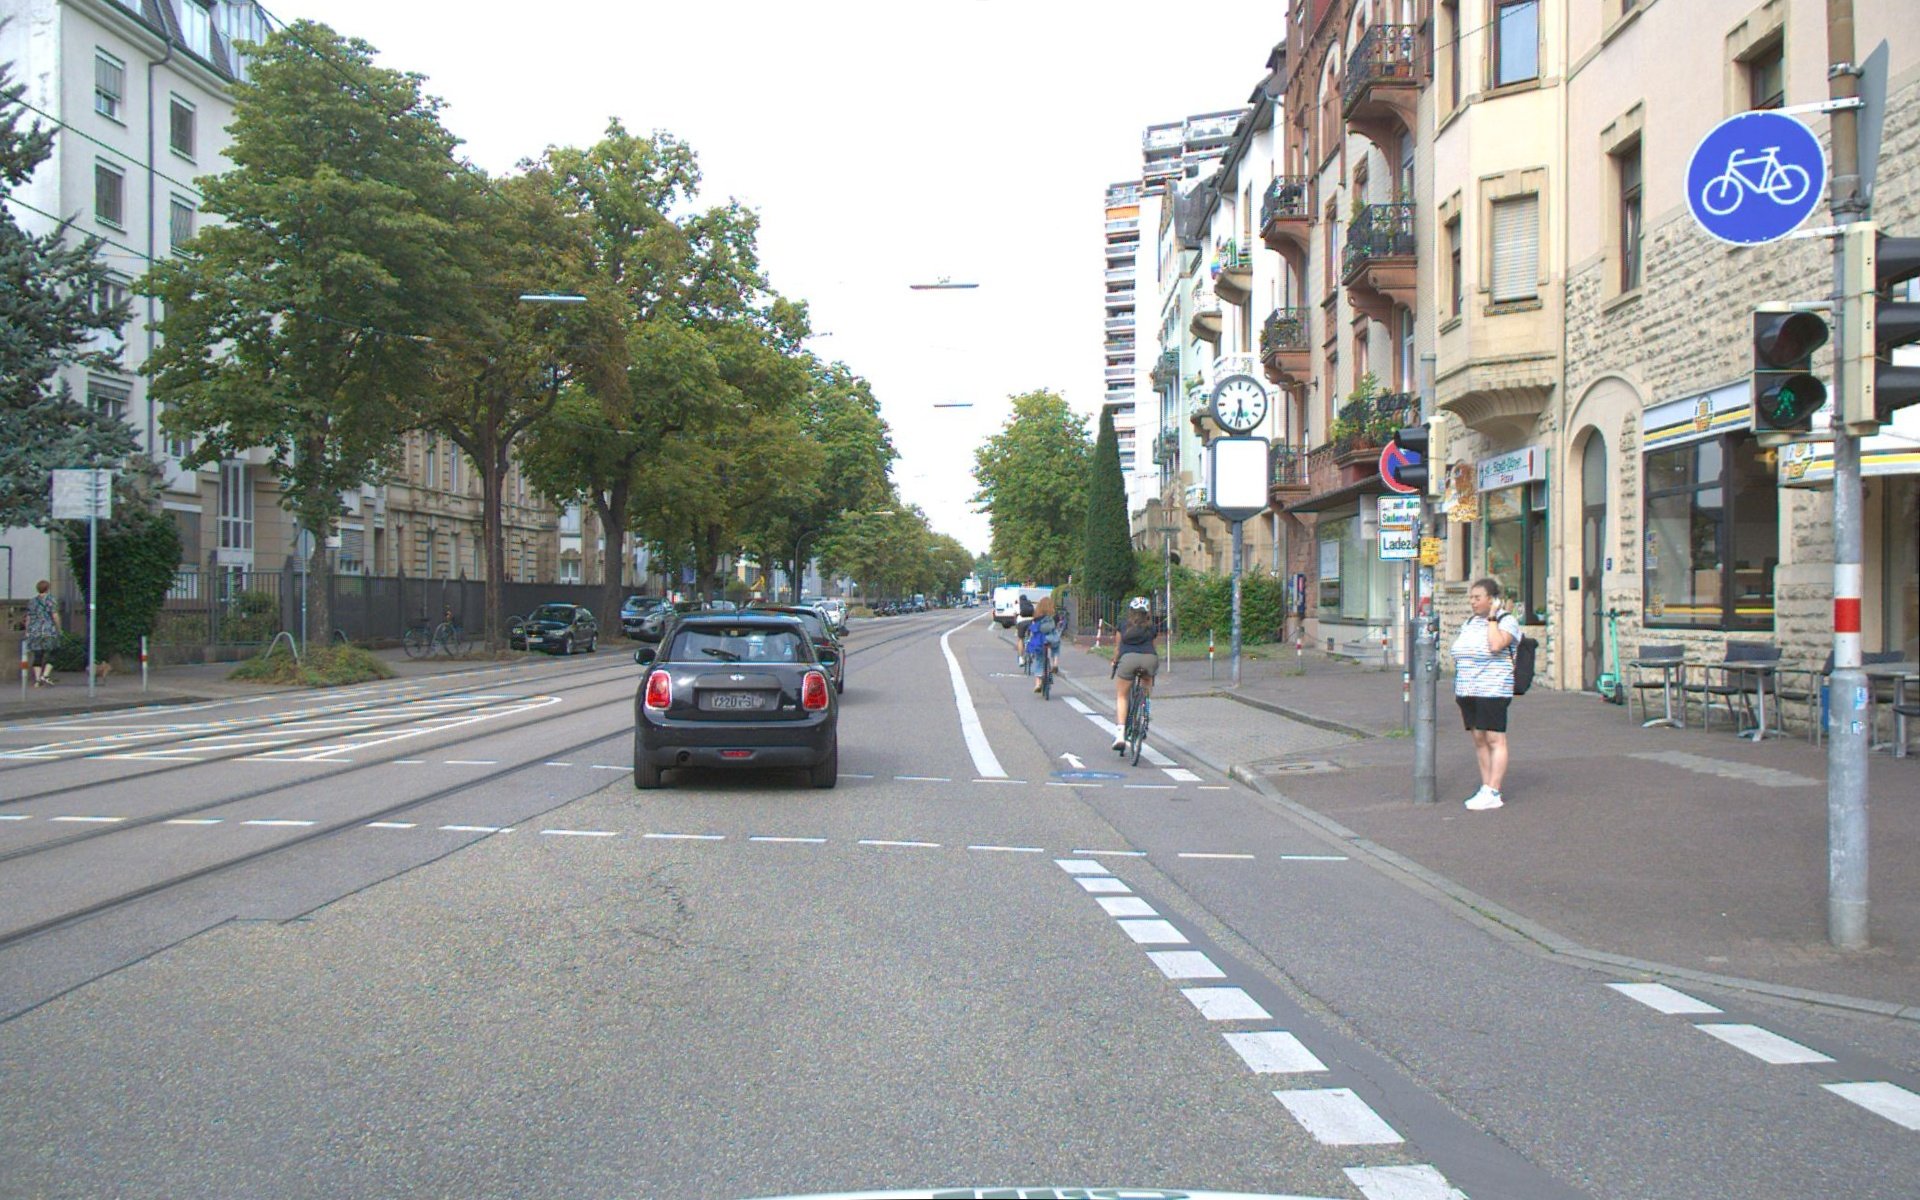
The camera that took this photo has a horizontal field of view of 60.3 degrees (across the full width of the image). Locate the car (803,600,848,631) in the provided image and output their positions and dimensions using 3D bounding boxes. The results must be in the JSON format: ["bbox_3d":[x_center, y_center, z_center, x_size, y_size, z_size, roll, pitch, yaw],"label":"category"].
[{"bbox_3d":[-6.295,0.725,77.761,1.730,1.420,4.000,0,0,1],"label":"car"}]

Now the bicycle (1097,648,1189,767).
[{"bbox_3d":[1.855,1.073,17.014,0.602,1.095,1.819,-1,0,-4],"label":"bicycle"}]

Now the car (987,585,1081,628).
[{"bbox_3d":[4.184,0.335,92.715,4.989,2.312,2.364,0,0,-39],"label":"car"}]

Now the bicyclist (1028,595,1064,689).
[{"bbox_3d":[1.472,0.700,28.273,0.582,1.577,1.014,-1,0,2],"label":"bicyclist"}]

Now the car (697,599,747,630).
[{"bbox_3d":[-11.340,0.690,79.157,1.730,1.420,4.000,0,0,1],"label":"car"}]

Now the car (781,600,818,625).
[{"bbox_3d":[-10.704,0.829,110.531,1.952,1.579,4.001,0,0,2],"label":"car"}]

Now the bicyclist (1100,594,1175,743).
[{"bbox_3d":[1.837,0.696,17.216,0.602,1.498,0.914,-1,0,-5],"label":"bicyclist"}]

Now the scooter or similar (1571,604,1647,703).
[{"bbox_3d":[8.237,0.660,21.025,0.498,1.209,1.262,-1,0,2],"label":"scooter or similar"}]

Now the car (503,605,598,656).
[{"bbox_3d":[-12.032,0.858,48.807,1.730,1.420,4.000,0,0,1],"label":"car"}]

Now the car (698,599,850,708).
[{"bbox_3d":[-2.788,0.760,25.585,1.887,1.536,4.000,0,0,0],"label":"car"}]

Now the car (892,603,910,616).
[{"bbox_3d":[-7.255,1.117,203.343,1.952,1.579,4.001,0,0,2],"label":"car"}]

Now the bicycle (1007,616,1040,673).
[{"bbox_3d":[1.402,0.969,36.462,0.669,1.191,1.697,-1,0,4],"label":"bicycle"}]

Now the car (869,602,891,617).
[{"bbox_3d":[-8.394,0.985,173.433,1.952,1.579,4.001,0,0,2],"label":"car"}]

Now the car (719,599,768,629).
[{"bbox_3d":[-11.419,0.725,87.487,1.952,1.579,4.001,0,0,2],"label":"car"}]

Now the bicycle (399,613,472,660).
[{"bbox_3d":[-13.116,0.904,41.364,1.655,1.138,0.565,-1,0,-38],"label":"bicycle"}]

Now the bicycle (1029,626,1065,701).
[{"bbox_3d":[1.481,1.069,28.317,0.586,1.191,1.697,-1,0,2],"label":"bicycle"}]

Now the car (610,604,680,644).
[{"bbox_3d":[-11.549,0.853,60.827,1.730,1.420,4.000,0,0,1],"label":"car"}]

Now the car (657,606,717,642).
[{"bbox_3d":[-11.279,0.958,68.498,1.730,1.420,4.000,0,0,1],"label":"car"}]

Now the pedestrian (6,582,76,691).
[{"bbox_3d":[-15.624,0.607,28.134,0.715,1.815,0.835,0,0,2],"label":"pedestrian"}]

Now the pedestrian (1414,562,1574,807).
[{"bbox_3d":[3.950,0.609,12.243,0.828,1.703,0.721,-3,0,-42],"label":"pedestrian"}]

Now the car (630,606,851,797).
[{"bbox_3d":[-2.029,0.797,14.976,1.719,1.466,3.991,0,0,-9],"label":"car"}]

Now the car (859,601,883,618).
[{"bbox_3d":[-8.741,0.934,162.969,1.952,1.579,4.001,0,0,2],"label":"car"}]

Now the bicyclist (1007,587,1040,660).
[{"bbox_3d":[1.401,0.504,36.472,0.669,1.591,0.998,-1,0,4],"label":"bicyclist"}]
